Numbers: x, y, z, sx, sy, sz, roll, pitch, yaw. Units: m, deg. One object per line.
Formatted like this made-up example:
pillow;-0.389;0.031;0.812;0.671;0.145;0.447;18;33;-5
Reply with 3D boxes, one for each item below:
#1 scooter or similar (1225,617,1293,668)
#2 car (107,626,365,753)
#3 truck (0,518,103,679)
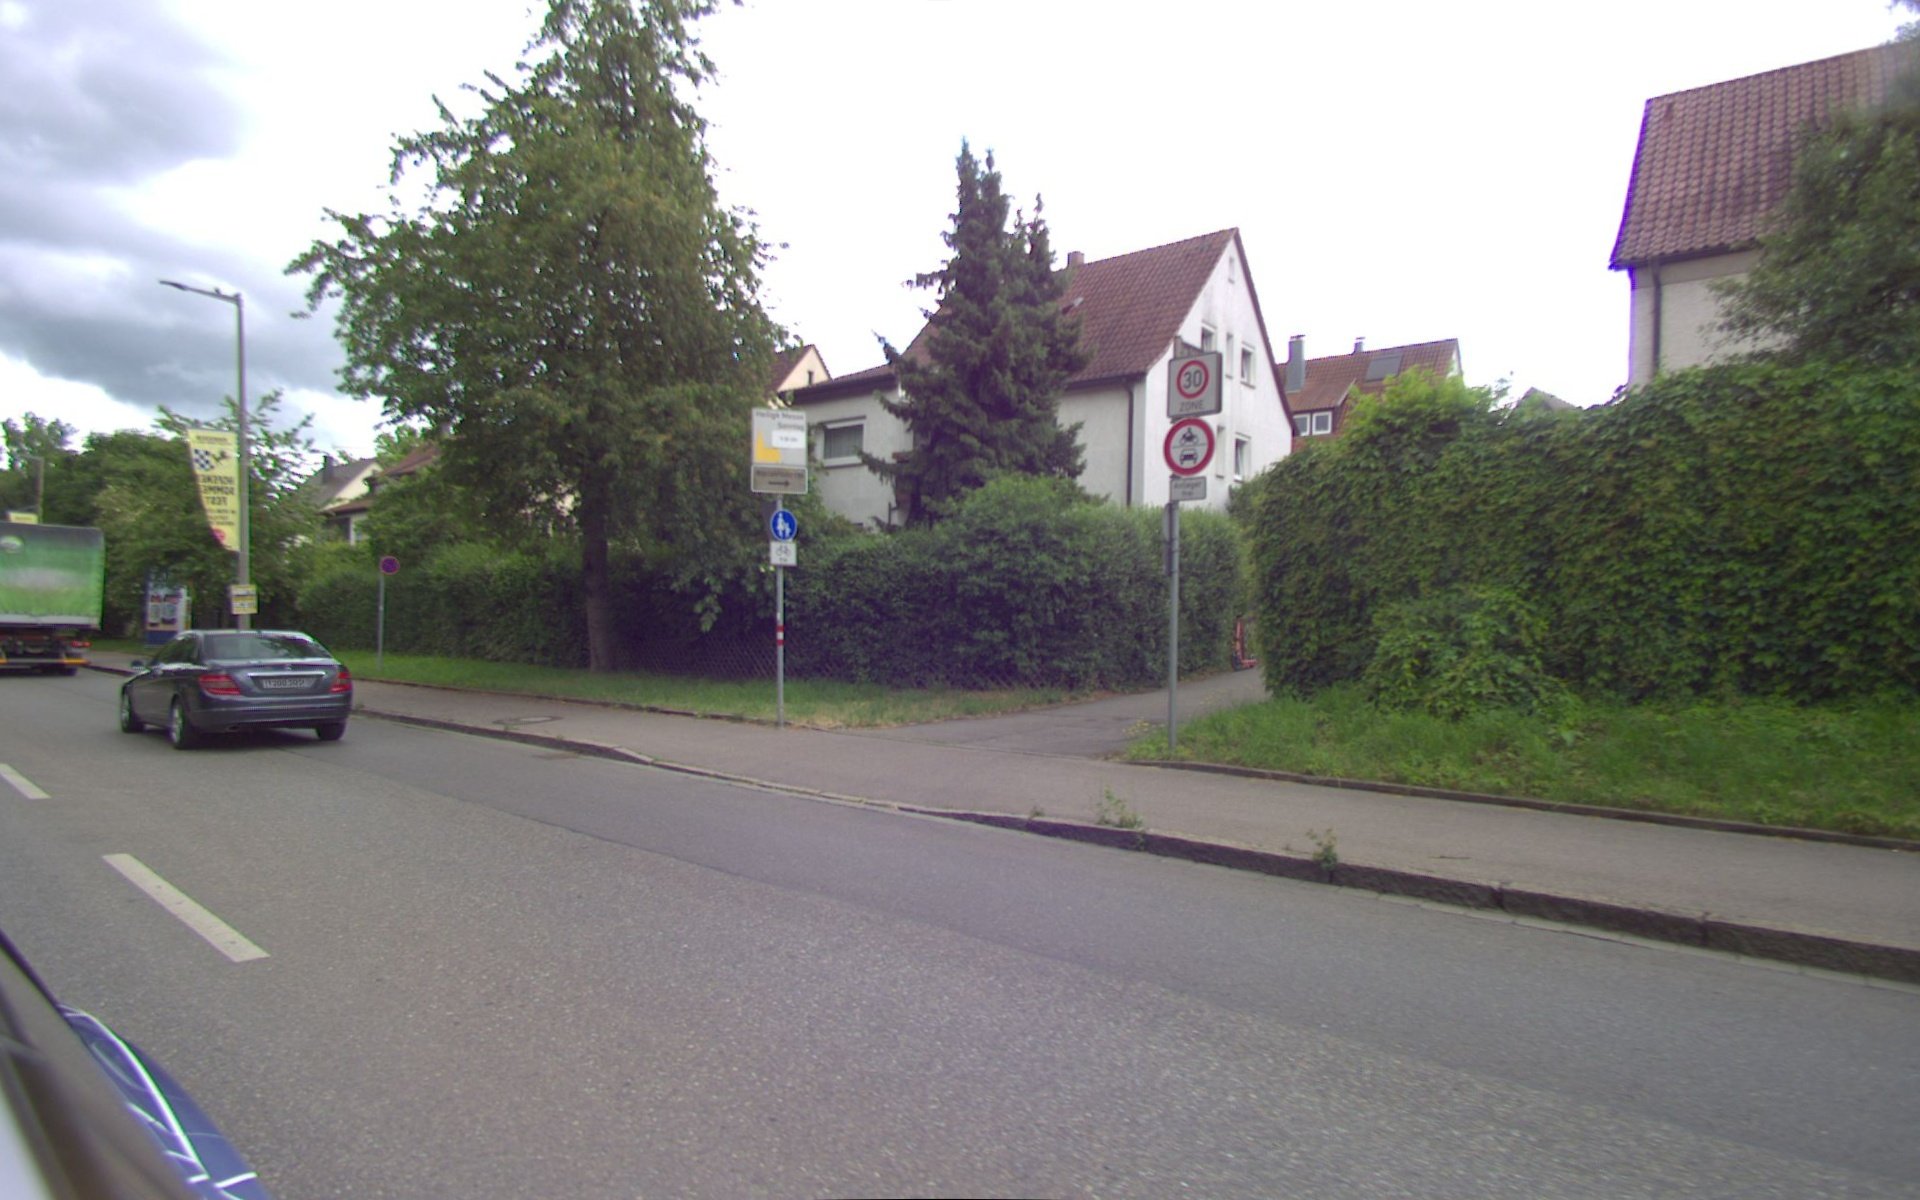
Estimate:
scooter or similar;6.986;0.969;23.606;2.108;1.116;0.563;1;-1;-45
car;-9.519;1.060;13.184;4.236;1.385;1.715;-1;-3;40
truck;-27.970;0.022;29.597;10.612;4.074;2.524;0;-3;40
